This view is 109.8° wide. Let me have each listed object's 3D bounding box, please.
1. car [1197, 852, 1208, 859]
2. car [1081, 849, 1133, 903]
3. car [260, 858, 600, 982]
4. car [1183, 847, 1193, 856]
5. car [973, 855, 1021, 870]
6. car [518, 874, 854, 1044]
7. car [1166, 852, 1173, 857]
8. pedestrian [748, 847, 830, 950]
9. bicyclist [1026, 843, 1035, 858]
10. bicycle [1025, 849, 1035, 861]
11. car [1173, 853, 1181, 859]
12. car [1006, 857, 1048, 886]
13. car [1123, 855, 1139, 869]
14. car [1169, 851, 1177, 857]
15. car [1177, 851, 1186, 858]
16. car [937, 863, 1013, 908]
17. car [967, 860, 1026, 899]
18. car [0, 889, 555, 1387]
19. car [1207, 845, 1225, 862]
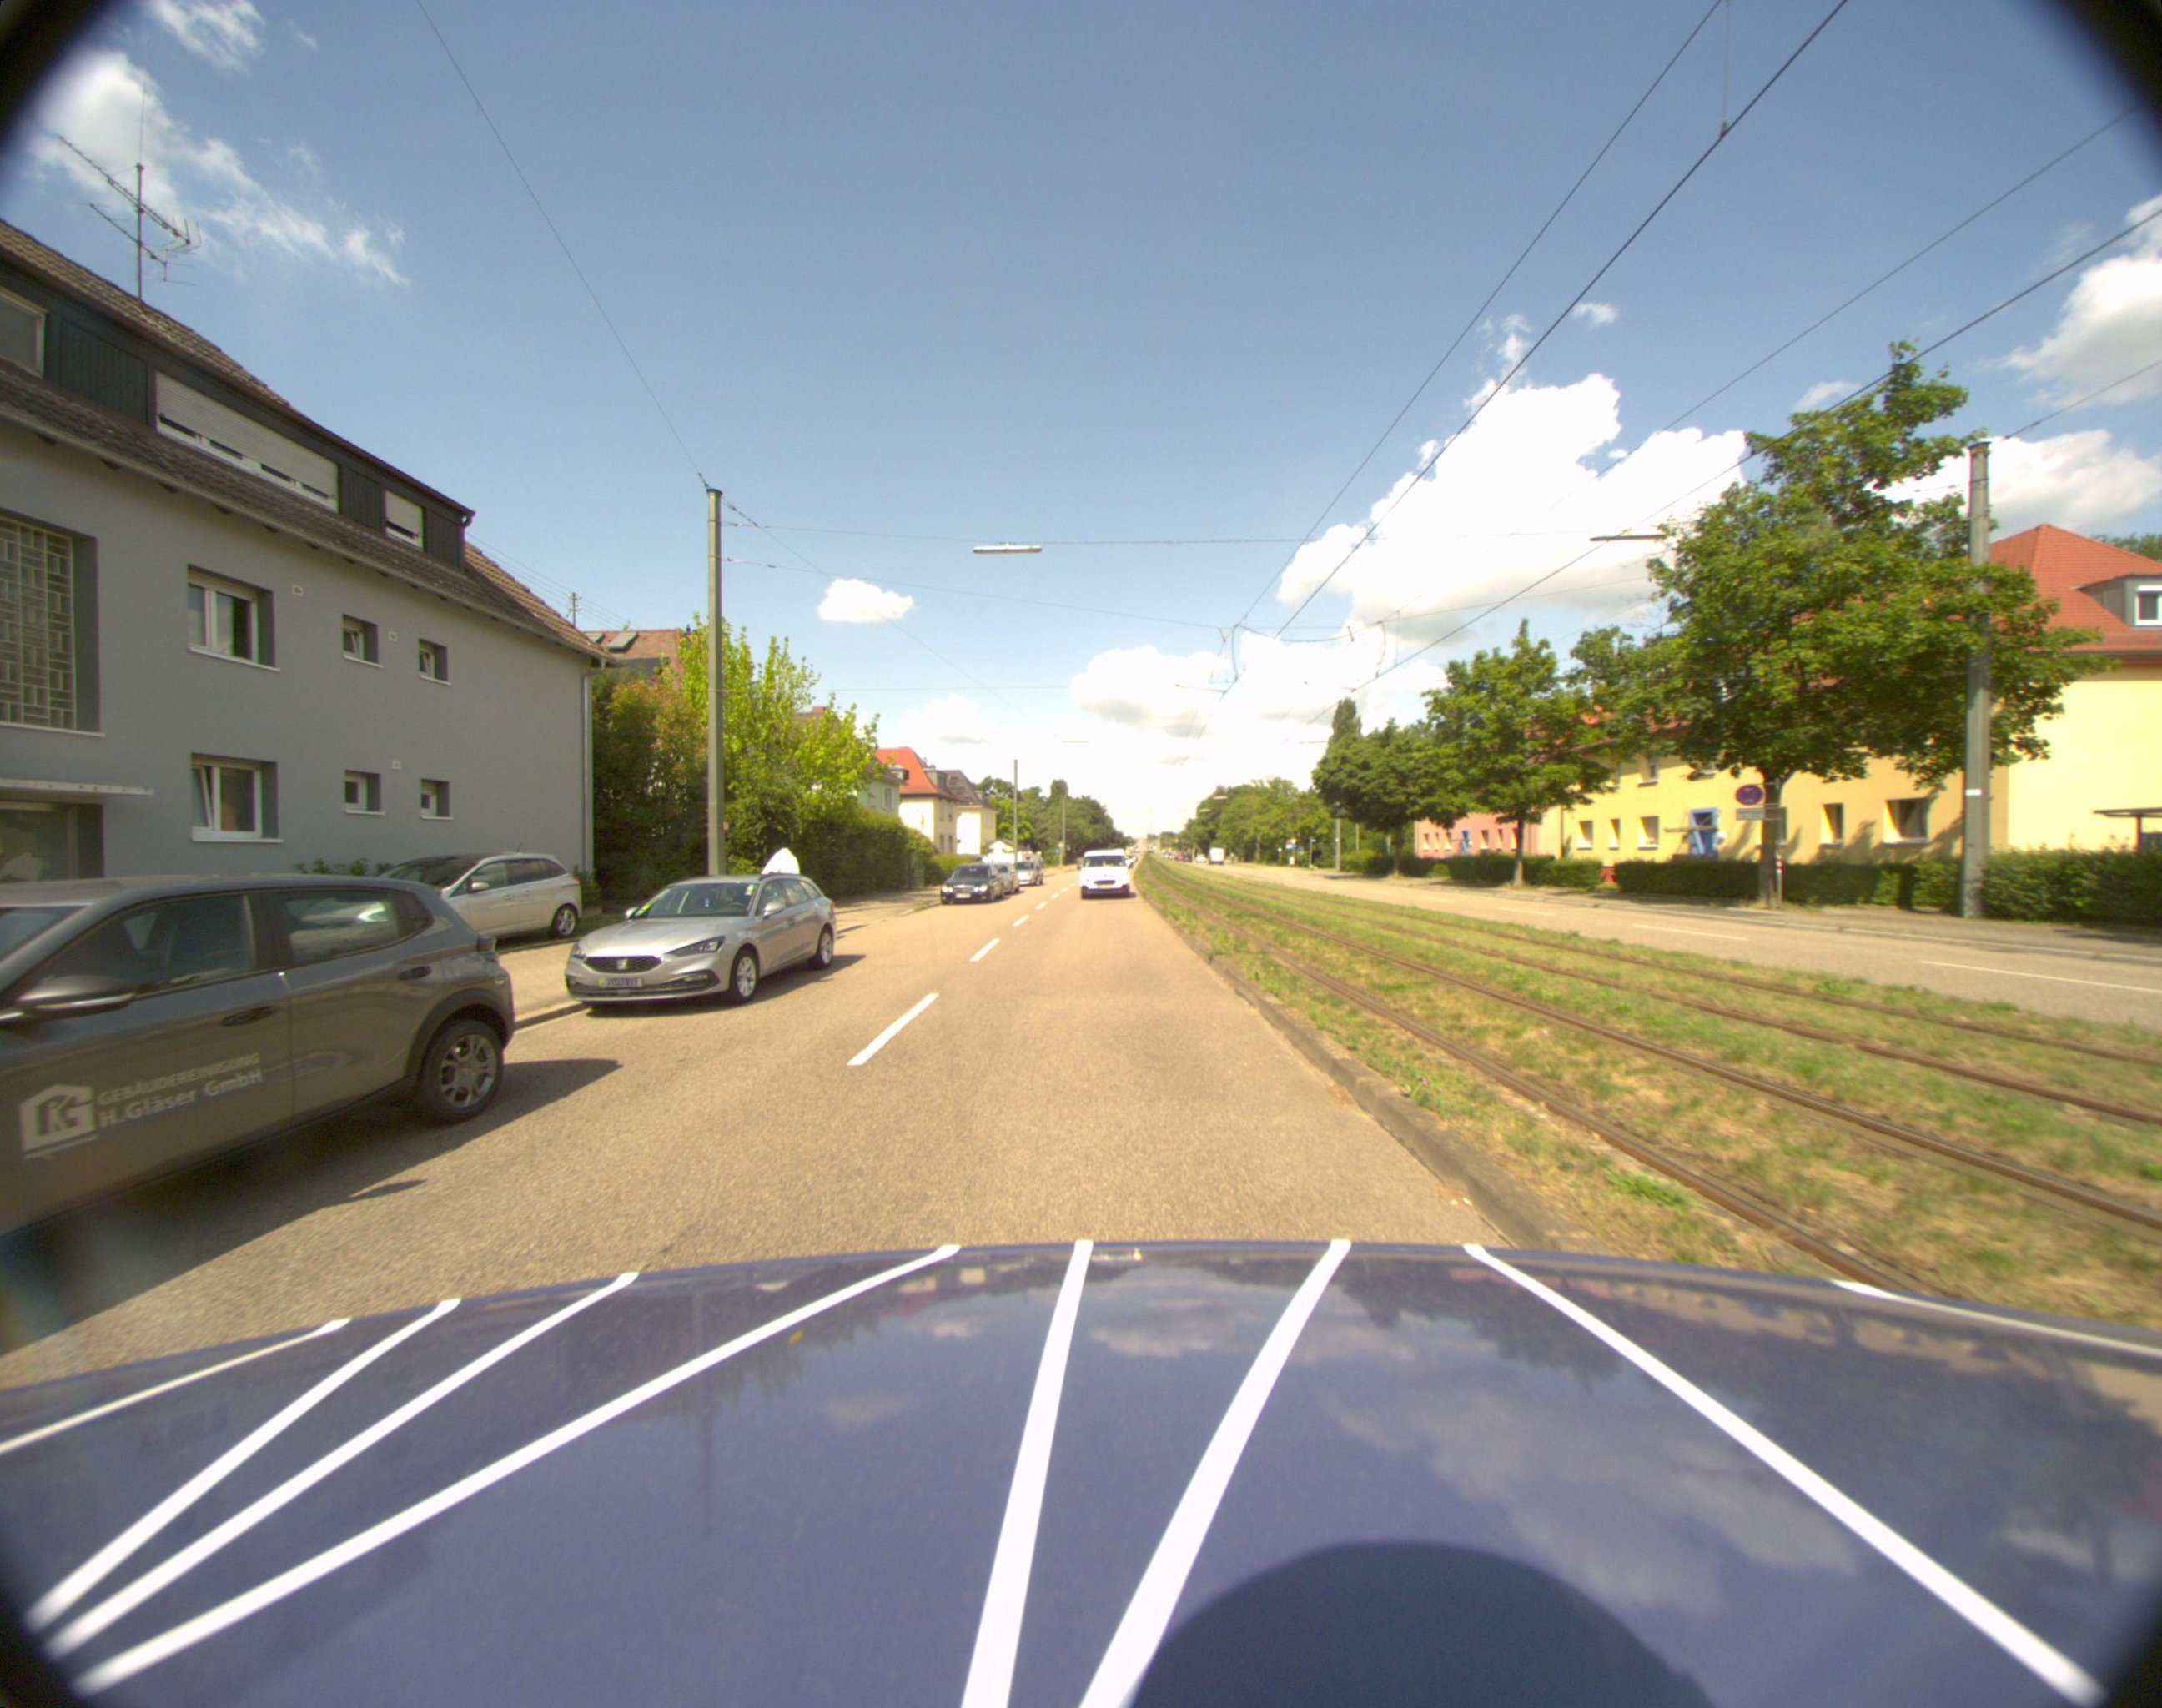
[{"bbox_3d":[23.820,0.321,148.929,1.689,1.422,4.278,0,0,4],"label":"car"},{"bbox_3d":[0.944,0.753,28.915,1.777,1.850,4.375,-2,0,1],"label":"car"},{"bbox_3d":[-10.550,0.931,12.948,1.761,1.637,4.768,0,1,-1],"label":"car"},{"bbox_3d":[20.697,-0.470,146.910,1.689,1.736,4.229,0,0,4],"label":"car"},{"bbox_3d":[-8.397,0.855,76.304,4.458,1.452,1.764,1,0,5],"label":"car"},{"bbox_3d":[-4.590,1.099,9.813,1.819,1.445,4.643,-2,1,1],"label":"car"},{"bbox_3d":[26.866,0.070,231.315,2.120,1.642,4.278,0,0,5],"label":"car"},{"bbox_3d":[-5.686,0.835,14.889,1.114,1.935,1.092,0,1,3],"label":"pedestrian"},{"bbox_3d":[-4.729,-0.326,70.698,0.689,1.345,0.665,0,1,11],"label":"bicyclist"},{"bbox_3d":[-4.713,0.086,70.746,0.556,1.059,1.524,0,0,11],"label":"bicycle"},{"bbox_3d":[23.202,0.401,183.630,1.731,1.386,4.278,0,0,5],"label":"car"},{"bbox_3d":[-3.034,0.968,43.480,1.741,1.481,4.095,-2,1,5],"label":"car"},{"bbox_3d":[6.253,0.939,94.998,1.998,1.576,4.001,-2,1,4],"label":"car"},{"bbox_3d":[24.484,-0.094,201.766,2.120,1.642,4.278,0,0,5],"label":"car"},{"bbox_3d":[22.232,0.127,168.021,1.731,1.569,4.277,0,0,3],"label":"car"},{"bbox_3d":[-3.883,1.115,28.730,1.904,1.435,5.058,-2,0,2],"label":"car"},{"bbox_3d":[-3.711,1.096,34.166,1.894,1.447,5.006,-2,1,2],"label":"car"},{"bbox_3d":[-4.649,1.076,3.251,1.812,1.550,4.252,-2,1,-1],"label":"car"},{"bbox_3d":[20.918,-0.092,118.080,2.036,2.422,5.779,1,0,4],"label":"car"}]
